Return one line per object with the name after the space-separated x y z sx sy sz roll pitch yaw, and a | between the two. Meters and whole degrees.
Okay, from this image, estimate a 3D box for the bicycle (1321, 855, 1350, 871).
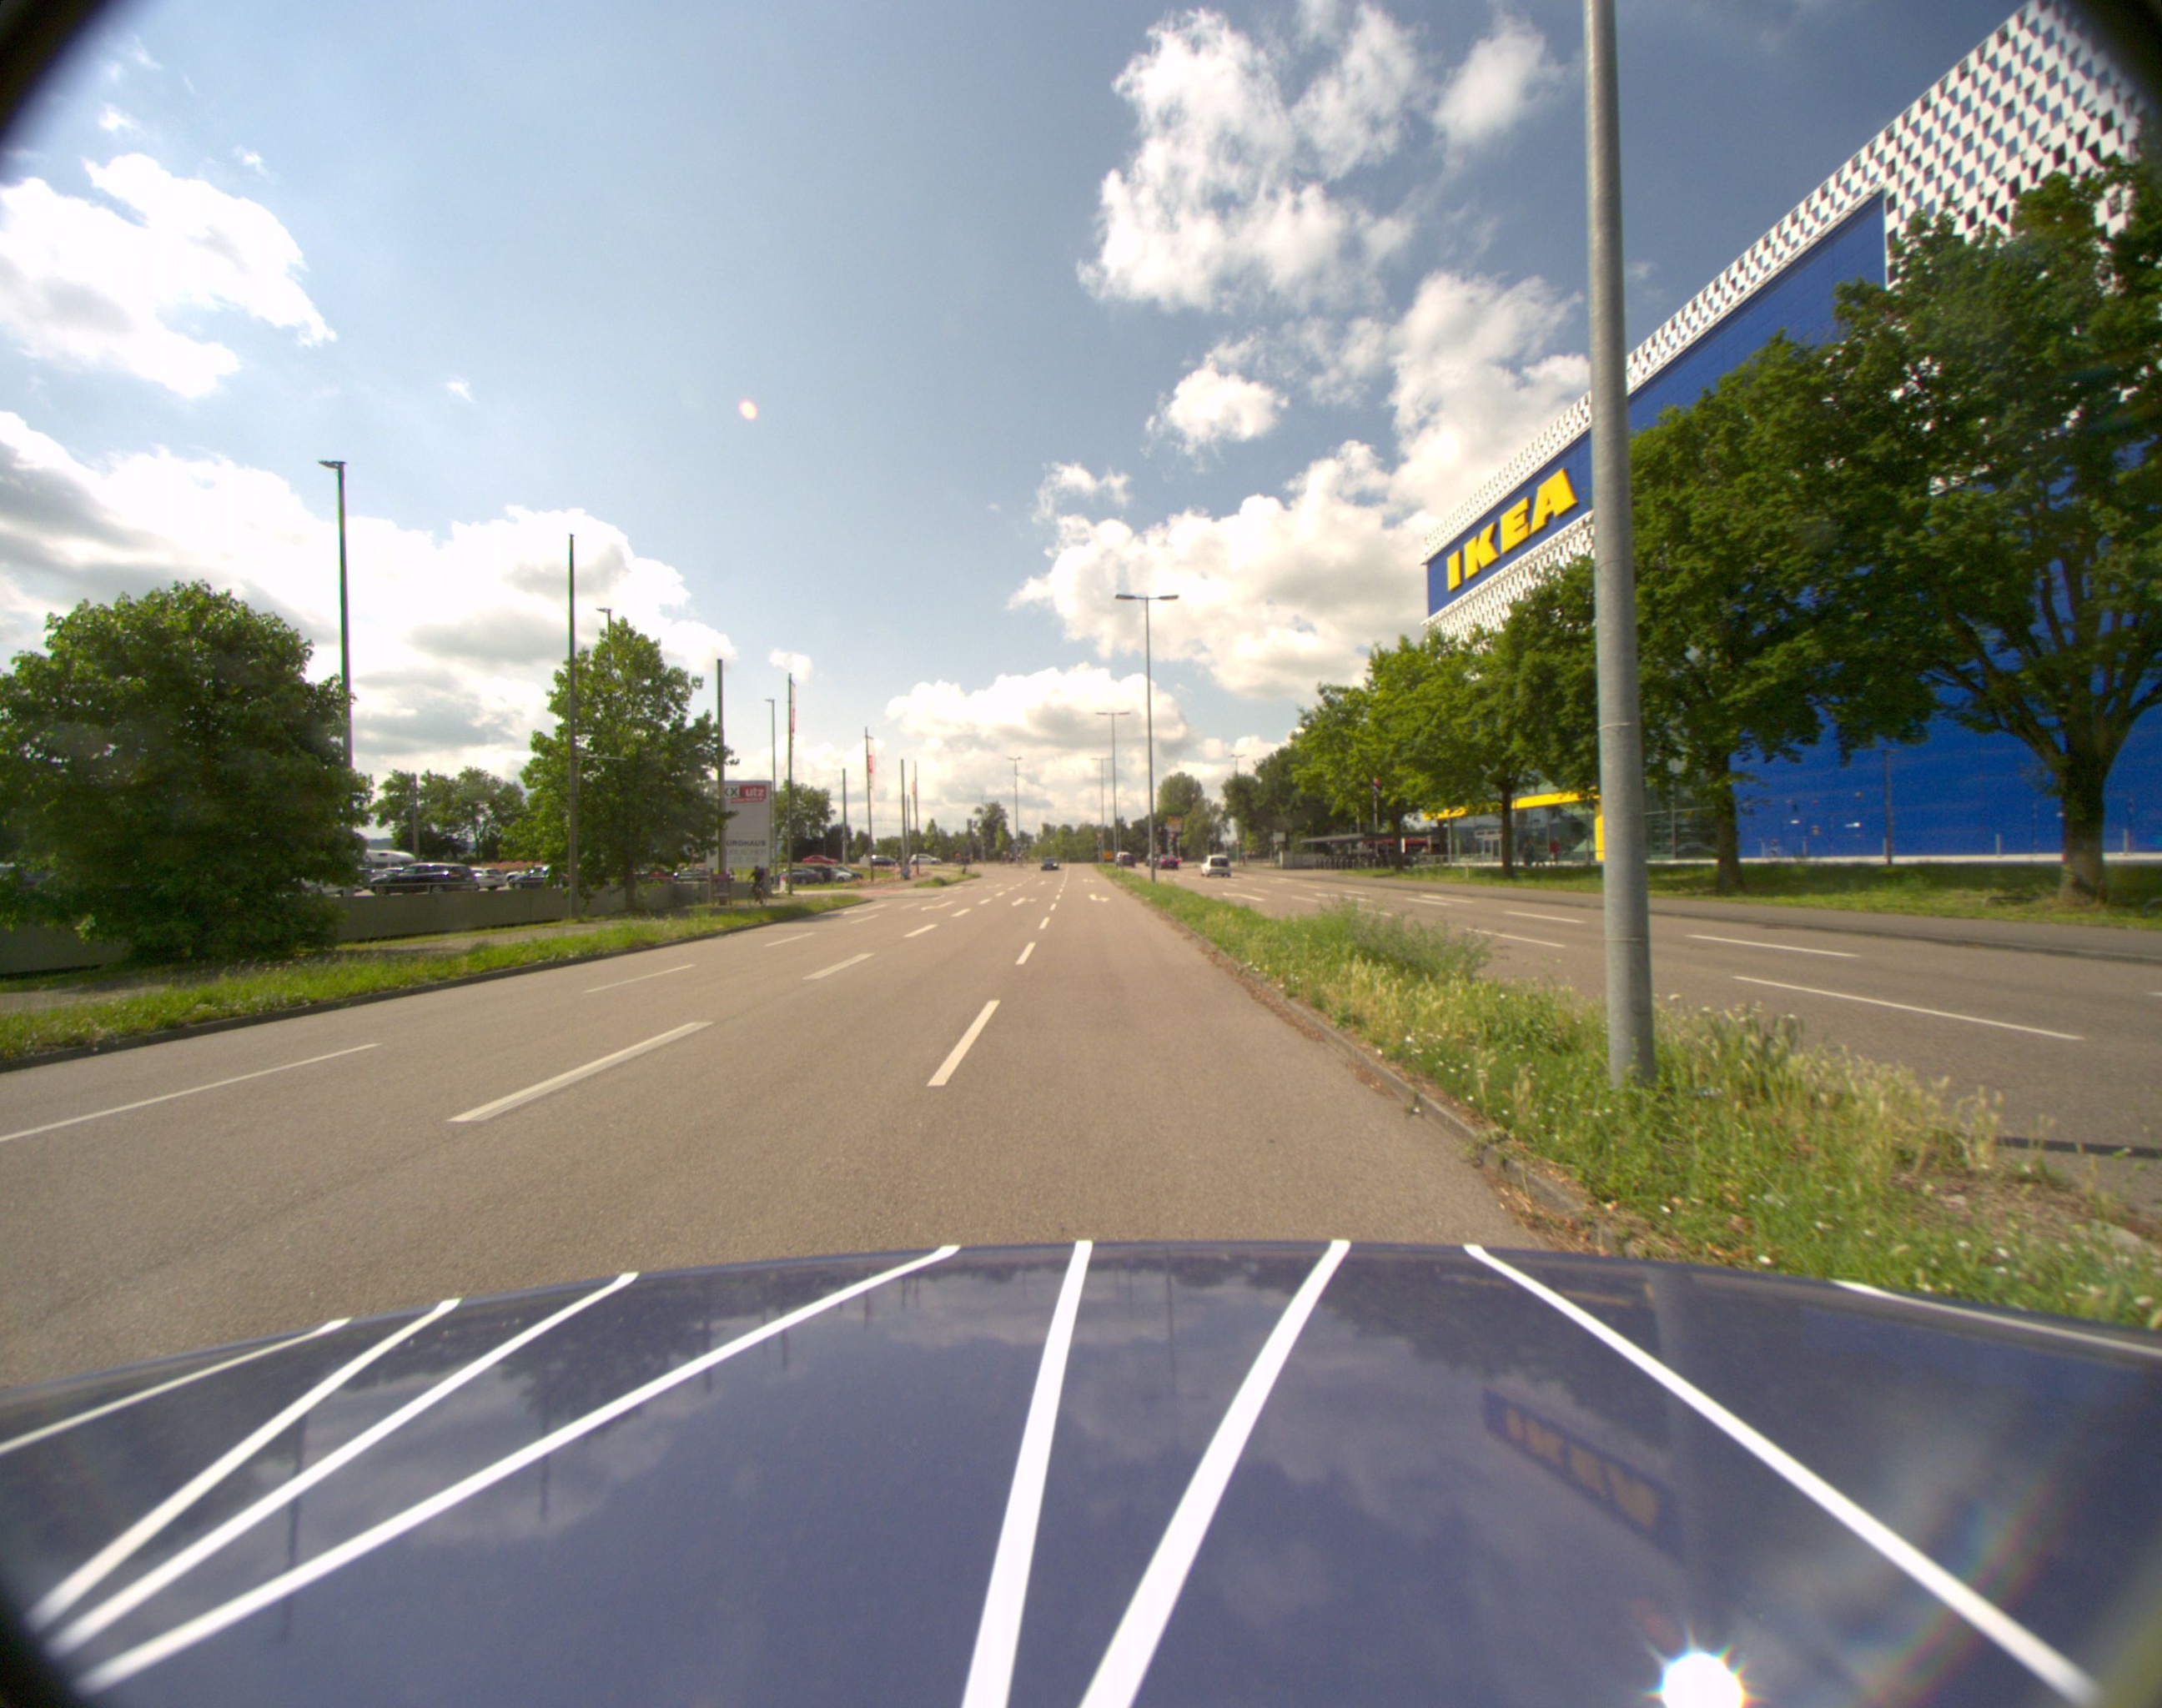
20.678 0.745 61.746 2.094 1.265 0.630 -1 -1 0 | bicycle

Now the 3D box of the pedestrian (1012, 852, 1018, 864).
-8.443 0.452 97.701 0.584 1.515 0.469 -2 1 9 | pedestrian

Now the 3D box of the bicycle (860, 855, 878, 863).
-25.750 0.584 92.433 1.987 0.955 0.596 -1 -1 -8 | bicycle

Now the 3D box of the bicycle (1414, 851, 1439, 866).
29.004 0.394 63.796 1.939 1.202 0.529 -1 1 -4 | bicycle

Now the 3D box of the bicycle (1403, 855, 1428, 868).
28.763 0.636 65.319 1.939 1.064 0.529 -1 1 -4 | bicycle

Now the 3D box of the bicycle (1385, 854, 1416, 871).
22.884 0.635 54.427 1.930 1.172 0.630 -1 -1 0 | bicycle

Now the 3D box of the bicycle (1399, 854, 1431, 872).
22.995 0.597 52.290 1.930 1.177 0.630 -1 -1 0 | bicycle

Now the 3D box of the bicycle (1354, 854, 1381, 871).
22.854 0.660 60.594 1.930 1.265 0.630 -1 -1 0 | bicycle

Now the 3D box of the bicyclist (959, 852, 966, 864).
-15.101 0.507 97.010 0.698 1.526 0.619 -1 -1 -33 | bicyclist

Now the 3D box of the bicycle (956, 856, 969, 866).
-15.112 0.888 96.982 1.507 1.158 0.619 -1 -1 -36 | bicycle

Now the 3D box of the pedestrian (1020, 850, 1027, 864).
-7.356 0.353 96.931 0.688 1.718 0.701 0 2 11 | pedestrian

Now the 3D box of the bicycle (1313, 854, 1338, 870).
20.647 0.703 64.206 1.930 1.265 0.630 -1 -1 0 | bicycle

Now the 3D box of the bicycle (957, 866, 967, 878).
-9.500 1.417 60.509 0.518 0.947 1.543 -1 0 0 | bicycle

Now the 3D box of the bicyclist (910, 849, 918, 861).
-20.579 0.104 93.609 0.744 1.466 0.649 -1 -1 -39 | bicyclist

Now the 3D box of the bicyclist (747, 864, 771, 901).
-12.273 1.077 28.981 0.617 1.404 0.715 -1 0 1 | bicyclist

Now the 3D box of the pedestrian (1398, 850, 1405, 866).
35.470 0.466 84.054 0.410 1.693 0.516 -1 0 -6 | pedestrian

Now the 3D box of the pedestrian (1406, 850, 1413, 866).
36.501 0.454 84.452 0.528 1.693 0.410 -1 0 -9 | pedestrian

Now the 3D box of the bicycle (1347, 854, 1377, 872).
20.606 0.659 55.814 1.930 1.265 0.630 -1 -1 0 | bicycle

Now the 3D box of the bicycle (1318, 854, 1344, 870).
20.691 0.673 62.859 1.930 1.265 0.630 -1 -1 0 | bicycle

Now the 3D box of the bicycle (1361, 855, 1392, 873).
20.735 0.691 53.307 1.930 1.176 0.630 -1 -1 0 | bicycle

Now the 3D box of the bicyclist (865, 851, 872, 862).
-25.884 0.249 92.421 0.687 1.317 0.592 -1 -1 -7 | bicyclist

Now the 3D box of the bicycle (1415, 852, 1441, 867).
28.813 0.470 63.103 1.950 1.236 0.597 -1 1 -4 | bicycle

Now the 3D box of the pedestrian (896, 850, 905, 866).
-21.544 0.487 90.605 0.867 1.754 0.861 2 -3 -23 | pedestrian

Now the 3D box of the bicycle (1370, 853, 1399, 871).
22.836 0.605 57.210 1.930 1.265 0.630 -1 -1 0 | bicycle

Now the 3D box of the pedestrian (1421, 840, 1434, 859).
31.539 -0.444 69.171 0.898 1.696 0.710 -1 1 -1 | pedestrian

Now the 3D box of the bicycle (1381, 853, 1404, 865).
28.376 0.423 69.232 1.939 1.064 0.529 -1 1 -4 | bicycle

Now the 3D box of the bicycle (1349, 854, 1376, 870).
22.907 0.639 61.917 1.930 1.265 0.630 -1 -1 0 | bicycle

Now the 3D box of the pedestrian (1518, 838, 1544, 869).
25.480 -0.013 43.039 0.952 1.692 0.887 -2 0 0 | pedestrian

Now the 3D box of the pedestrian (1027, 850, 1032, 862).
-6.704 0.299 98.934 0.556 1.515 0.470 -2 0 9 | pedestrian

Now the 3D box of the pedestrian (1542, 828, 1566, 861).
26.991 -0.534 43.373 0.755 1.812 0.887 -2 0 0 | pedestrian

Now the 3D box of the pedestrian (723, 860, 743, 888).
-22.151 1.261 48.353 0.874 1.771 0.782 -1 -1 -44 | pedestrian

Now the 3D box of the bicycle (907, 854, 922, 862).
-20.523 0.446 93.635 1.699 0.955 0.664 -1 -1 -39 | bicycle

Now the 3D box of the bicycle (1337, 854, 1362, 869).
22.697 0.643 64.223 1.930 1.265 0.630 -1 -1 0 | bicycle

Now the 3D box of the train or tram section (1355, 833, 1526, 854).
56.623 -1.587 120.113 25.114 3.014 4.530 0 0 -2 | train or tram section
